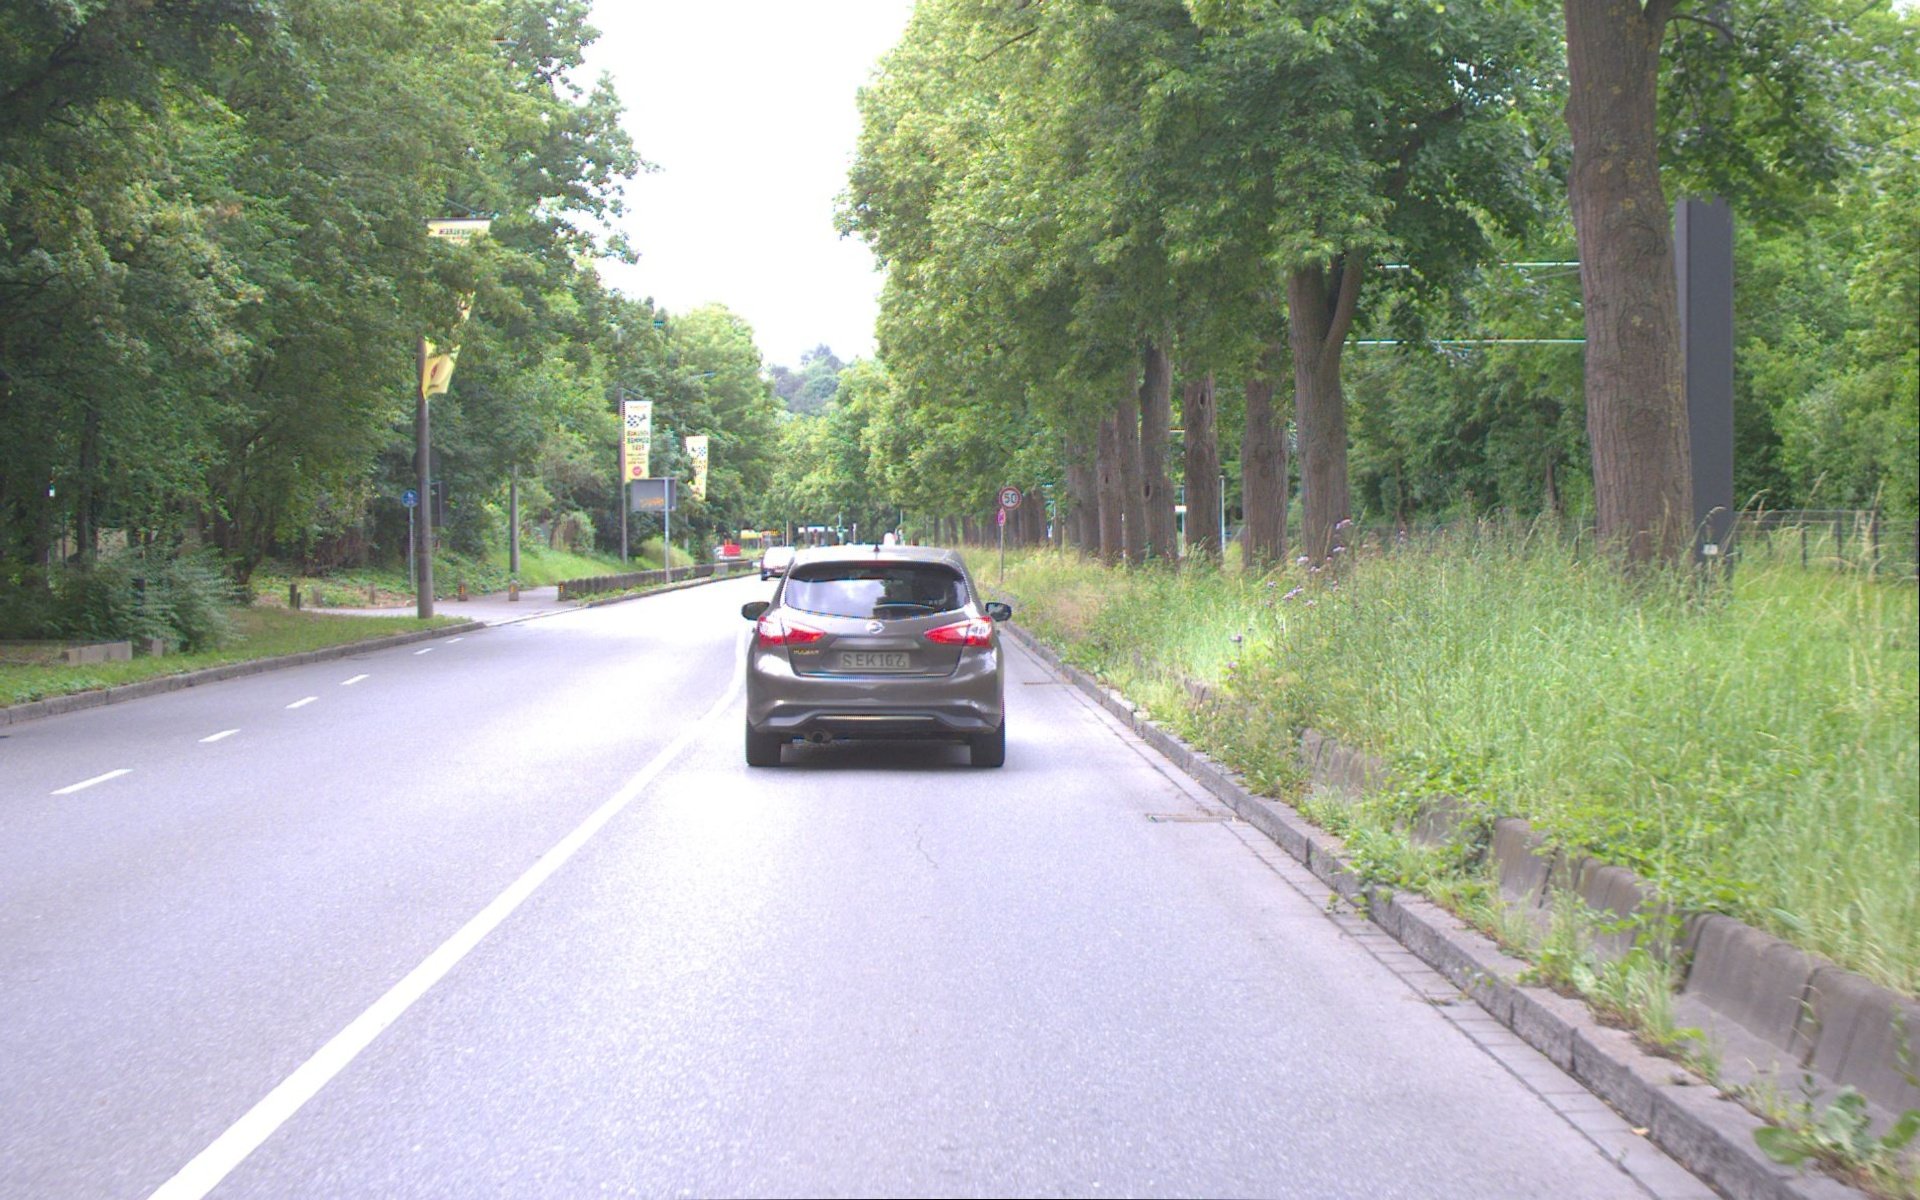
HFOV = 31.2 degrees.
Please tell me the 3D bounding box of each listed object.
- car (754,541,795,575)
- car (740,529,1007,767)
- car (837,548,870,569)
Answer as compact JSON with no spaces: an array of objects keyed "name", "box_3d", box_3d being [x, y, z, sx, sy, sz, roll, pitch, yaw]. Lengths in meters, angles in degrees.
[{"name":"car","box_3d":[-8.023,-1.830,149.263,1.716,1.423,4.197,-2,1,-3]},{"name":"car","box_3d":[-0.621,0.295,24.420,1.730,1.532,3.552,1,1,-2]},{"name":"car","box_3d":[-7.392,-2.870,238.251,1.561,1.436,3.553,1,1,-14]}]
